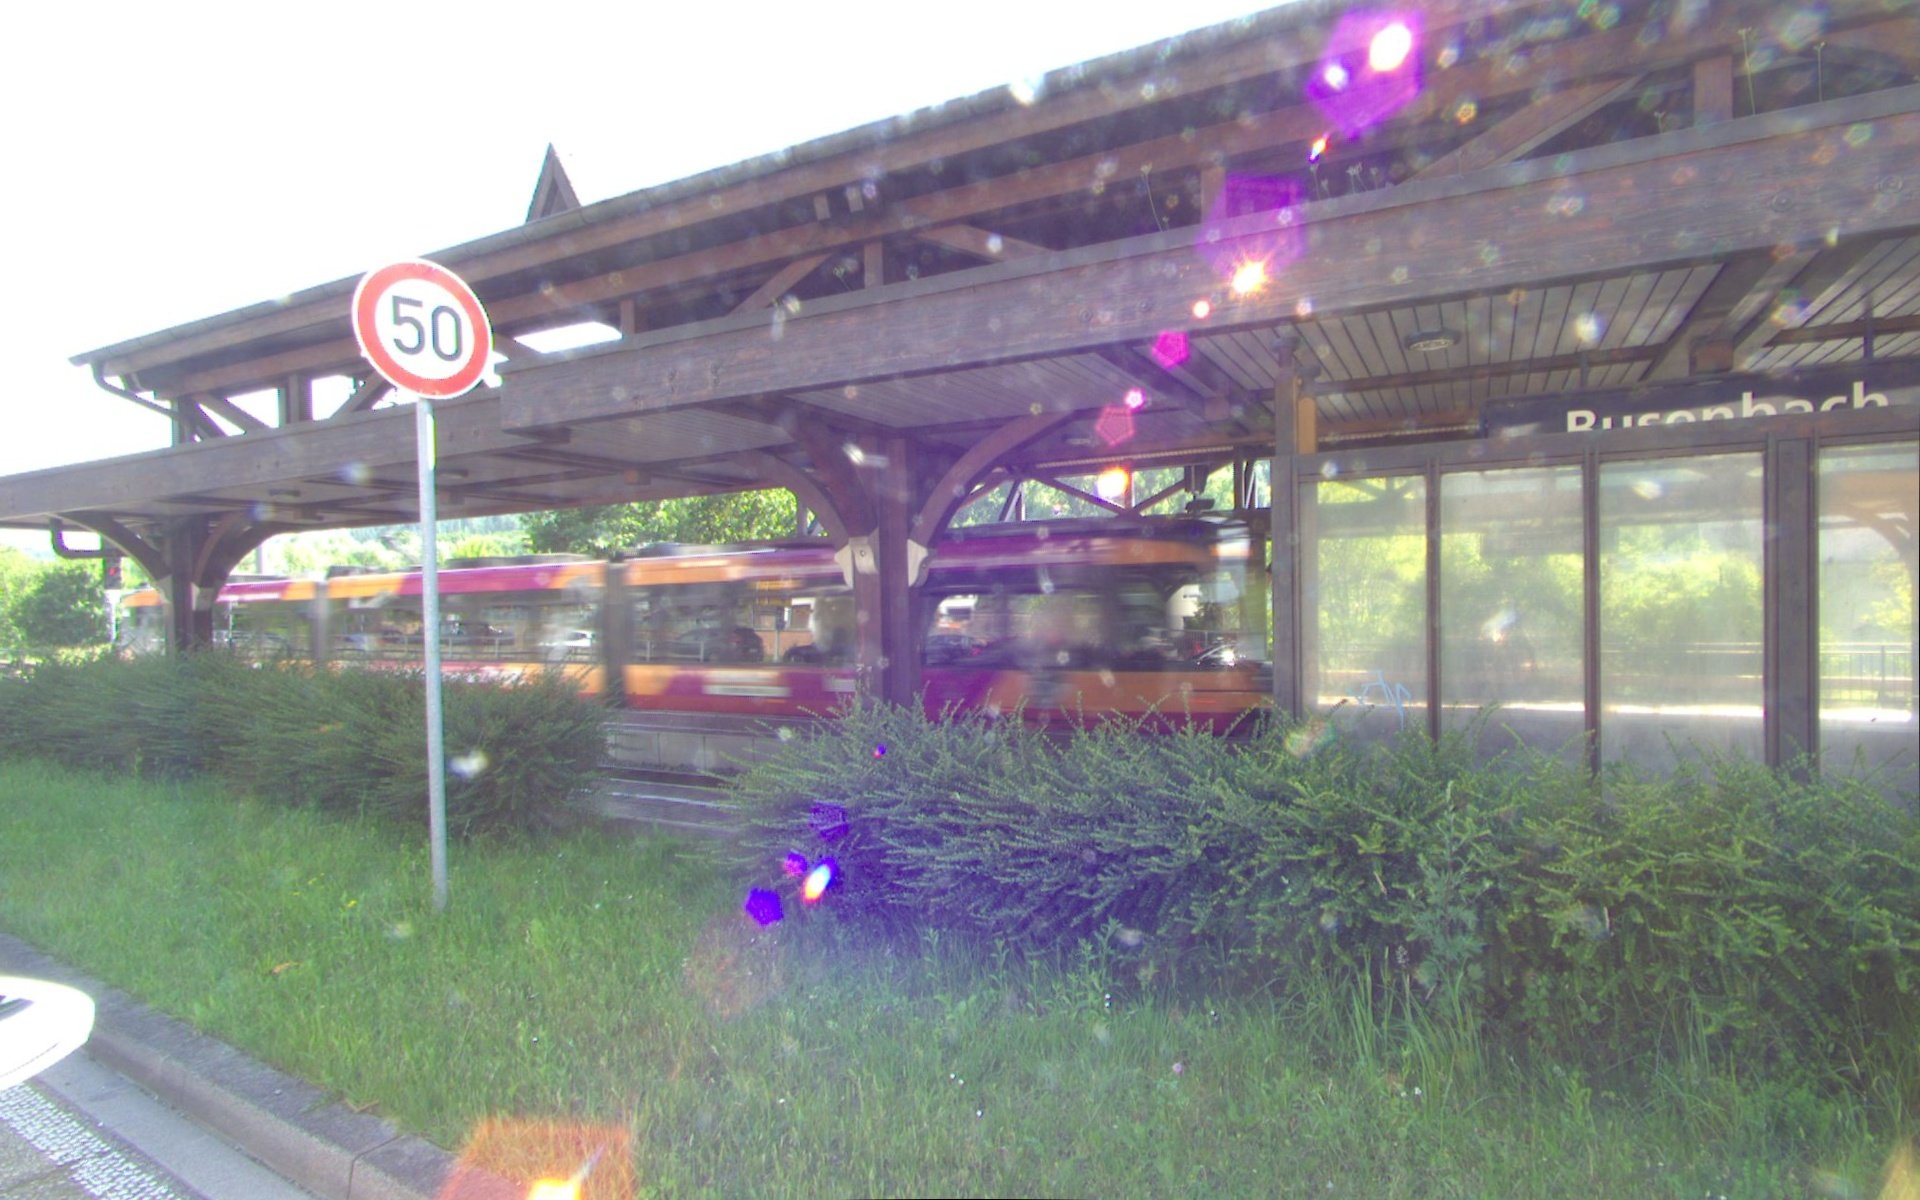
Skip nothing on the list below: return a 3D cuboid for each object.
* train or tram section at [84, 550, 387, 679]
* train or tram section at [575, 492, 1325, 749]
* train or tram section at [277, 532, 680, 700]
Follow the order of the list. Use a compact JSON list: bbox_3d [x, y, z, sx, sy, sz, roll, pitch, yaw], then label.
[{"bbox_3d":[-22.342,0.438,30.533,11.865,3.407,2.754,0,-2,30],"label":"train or tram section"},{"bbox_3d":[-1.050,0.372,18.105,14.140,3.408,2.852,-1,-1,30],"label":"train or tram section"},{"bbox_3d":[-12.209,0.482,24.642,11.870,3.406,2.784,-1,-2,31],"label":"train or tram section"}]
